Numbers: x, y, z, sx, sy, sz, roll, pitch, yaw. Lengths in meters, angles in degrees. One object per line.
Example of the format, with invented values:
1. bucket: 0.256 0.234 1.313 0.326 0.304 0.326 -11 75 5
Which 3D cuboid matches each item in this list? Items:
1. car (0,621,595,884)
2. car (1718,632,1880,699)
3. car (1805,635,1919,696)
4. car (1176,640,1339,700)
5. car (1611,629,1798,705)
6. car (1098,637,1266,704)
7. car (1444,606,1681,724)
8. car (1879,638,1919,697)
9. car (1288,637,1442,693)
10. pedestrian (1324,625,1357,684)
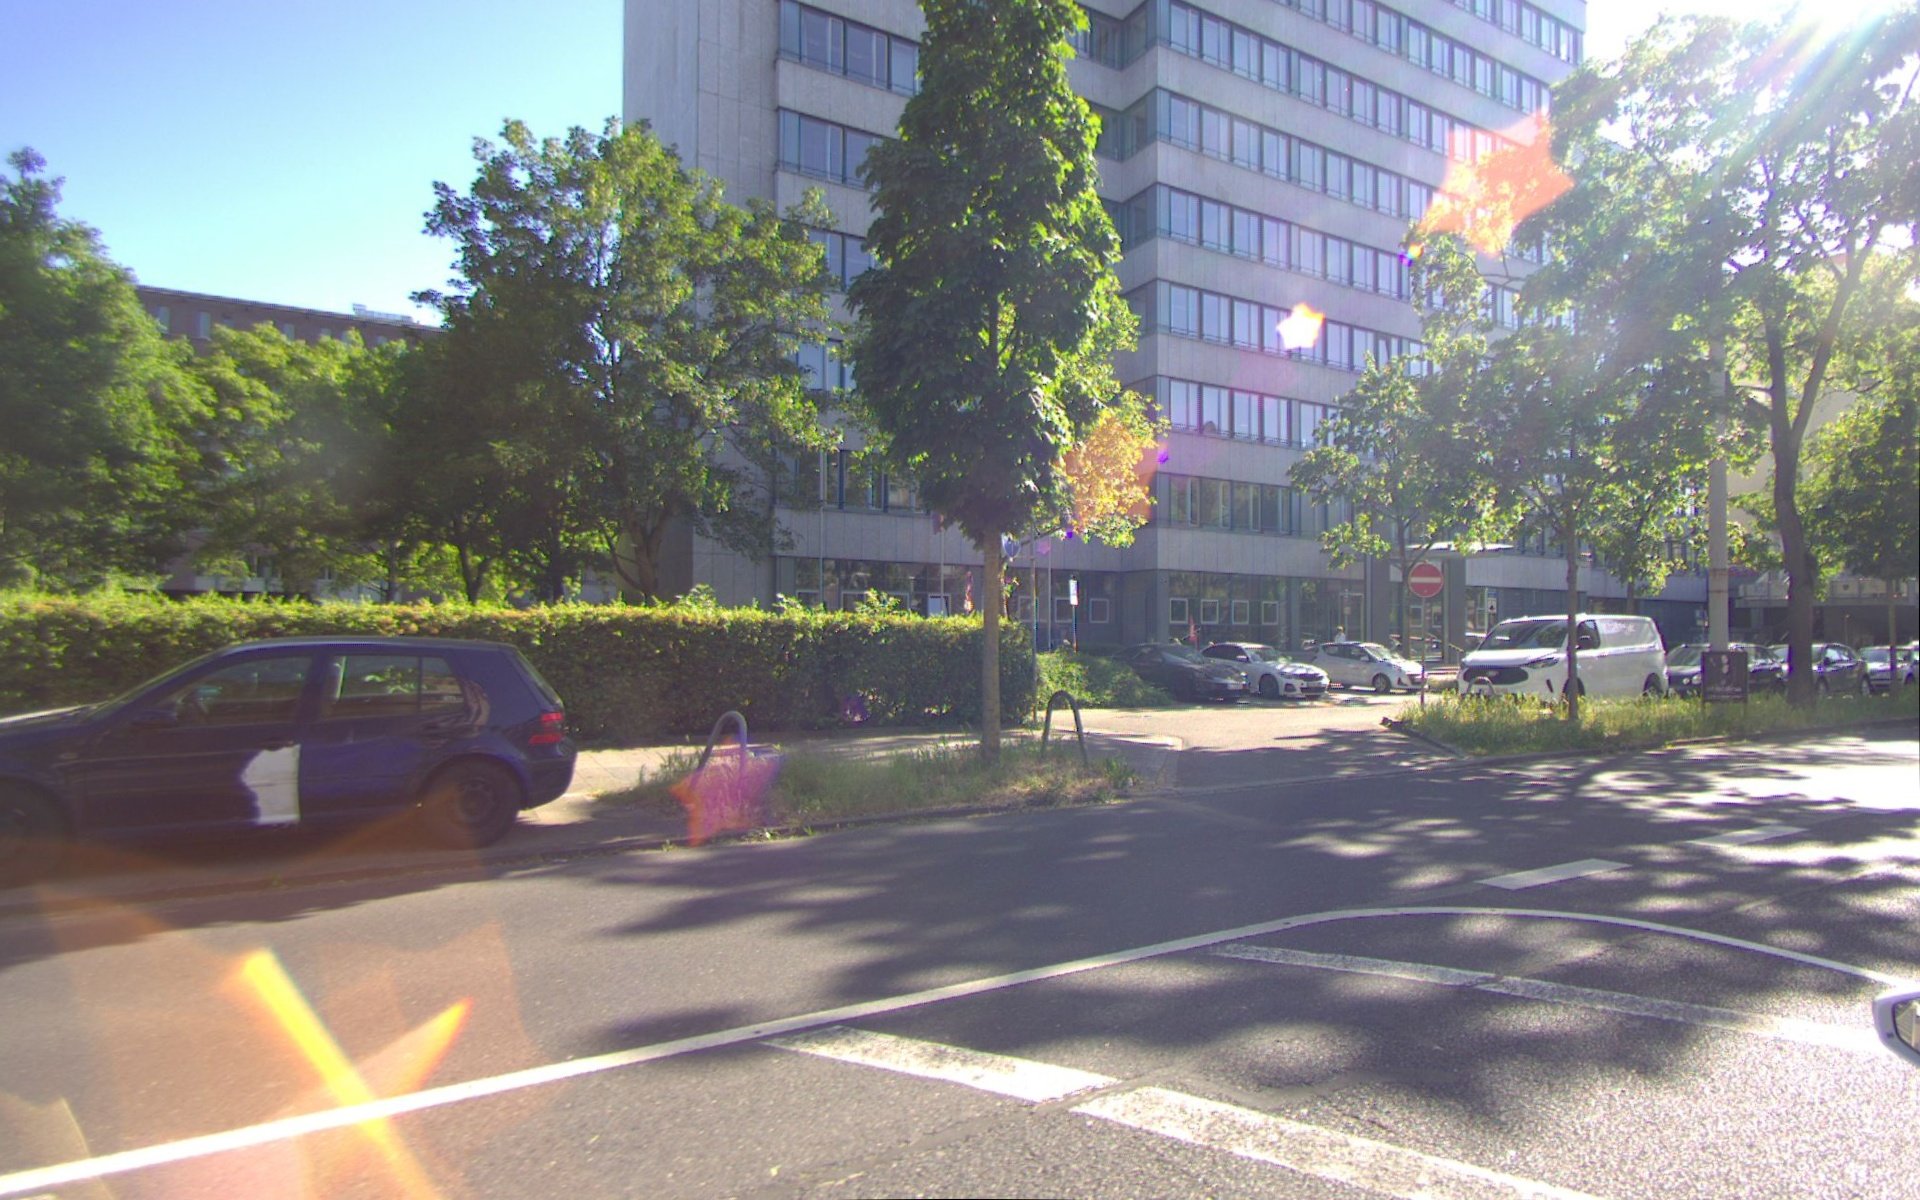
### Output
1. car: -4.816 0.912 7.058 4.022 1.478 1.704 1 -1 -29
2. car: 21.161 1.599 25.300 4.269 1.543 1.846 2 -1 -31
3. car: 25.589 1.782 27.976 4.014 1.543 1.848 1 -1 -29
4. car: 8.324 1.928 28.590 1.911 1.461 4.600 1 -1 -25
5. car: 16.756 1.458 22.564 4.265 1.543 1.774 1 -1 -29
6. car: 5.780 1.796 26.784 1.982 1.533 4.656 1 -1 -25
7. car: 12.115 1.273 20.082 5.141 2.103 1.970 2 -4 -33
8. car: 29.869 2.036 30.635 4.620 1.706 1.843 2 -1 -36
9. car: 12.678 1.981 31.685 1.841 1.543 4.280 1 -1 -32
10. pedestrian: 13.986 1.982 36.929 0.782 2.121 0.768 2 -1 -29
